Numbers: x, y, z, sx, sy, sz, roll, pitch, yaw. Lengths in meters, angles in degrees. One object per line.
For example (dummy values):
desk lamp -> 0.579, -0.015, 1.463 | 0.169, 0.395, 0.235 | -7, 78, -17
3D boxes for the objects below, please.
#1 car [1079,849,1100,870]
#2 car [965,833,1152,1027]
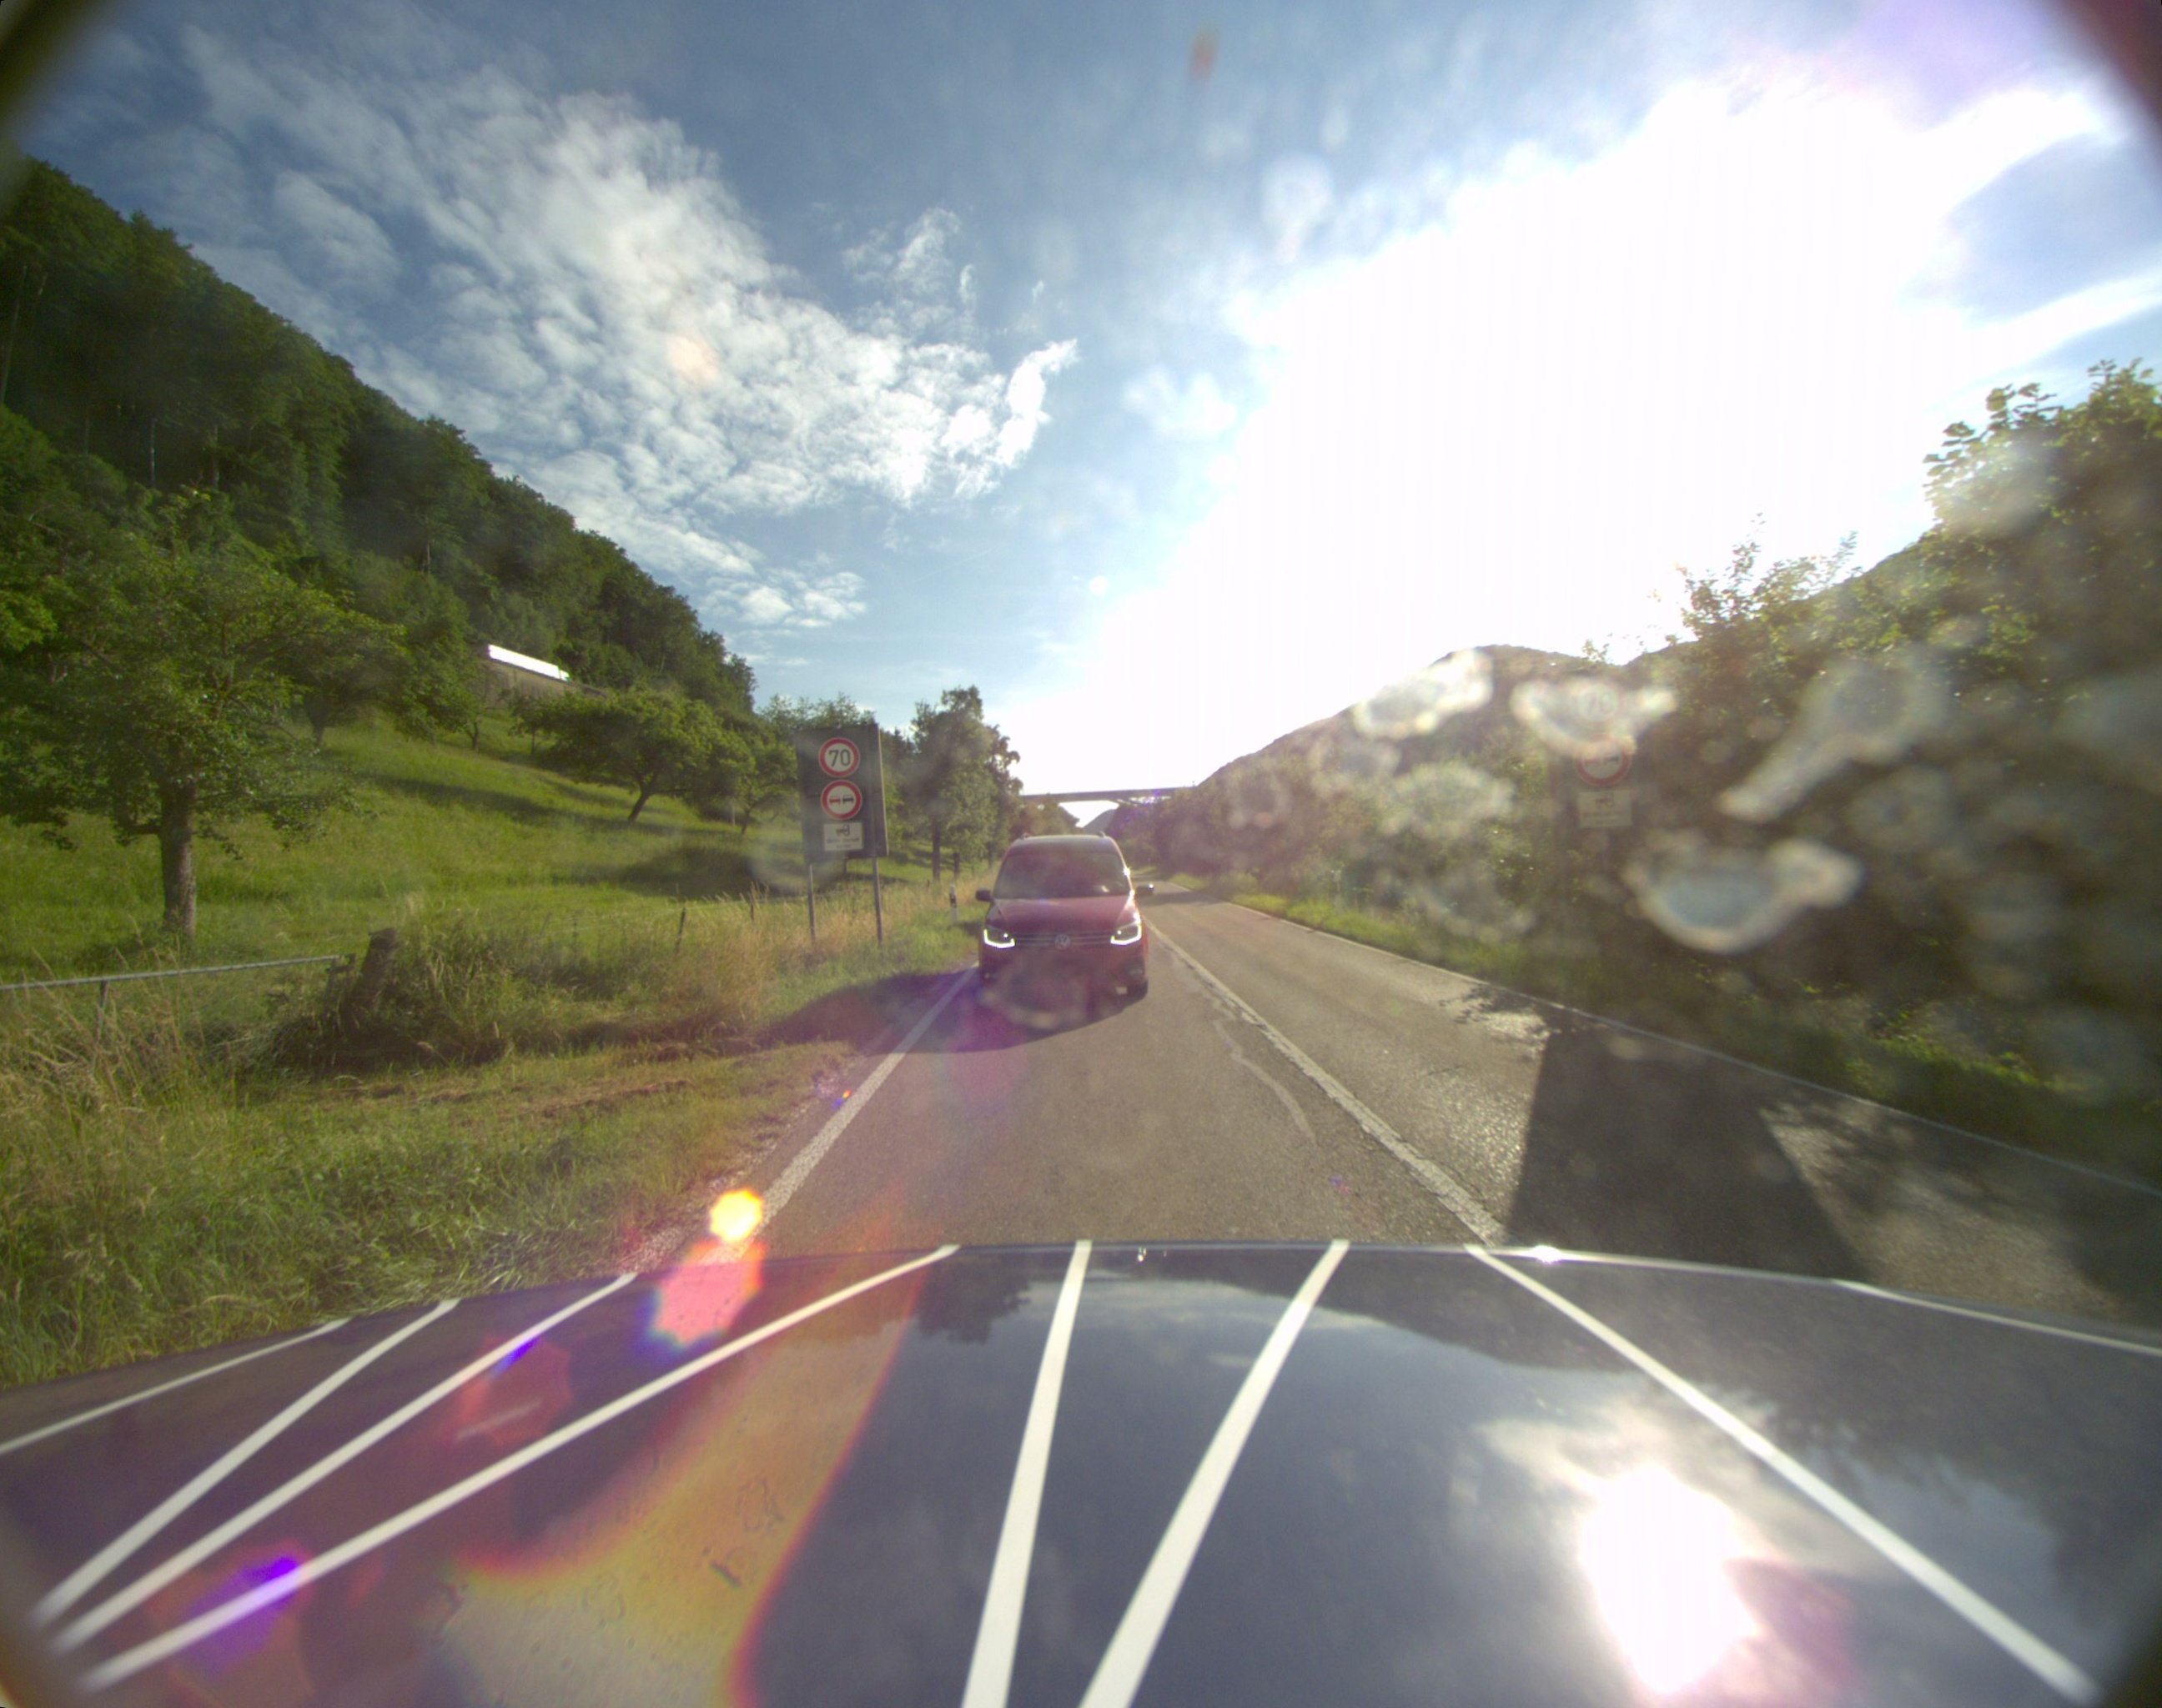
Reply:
car -> 0.813, 0.500, 76.513 | 1.998, 2.002, 3.999 | -2, 1, 0
car -> -0.248, 0.720, 9.206 | 1.741, 1.803, 3.999 | -1, 0, -1
